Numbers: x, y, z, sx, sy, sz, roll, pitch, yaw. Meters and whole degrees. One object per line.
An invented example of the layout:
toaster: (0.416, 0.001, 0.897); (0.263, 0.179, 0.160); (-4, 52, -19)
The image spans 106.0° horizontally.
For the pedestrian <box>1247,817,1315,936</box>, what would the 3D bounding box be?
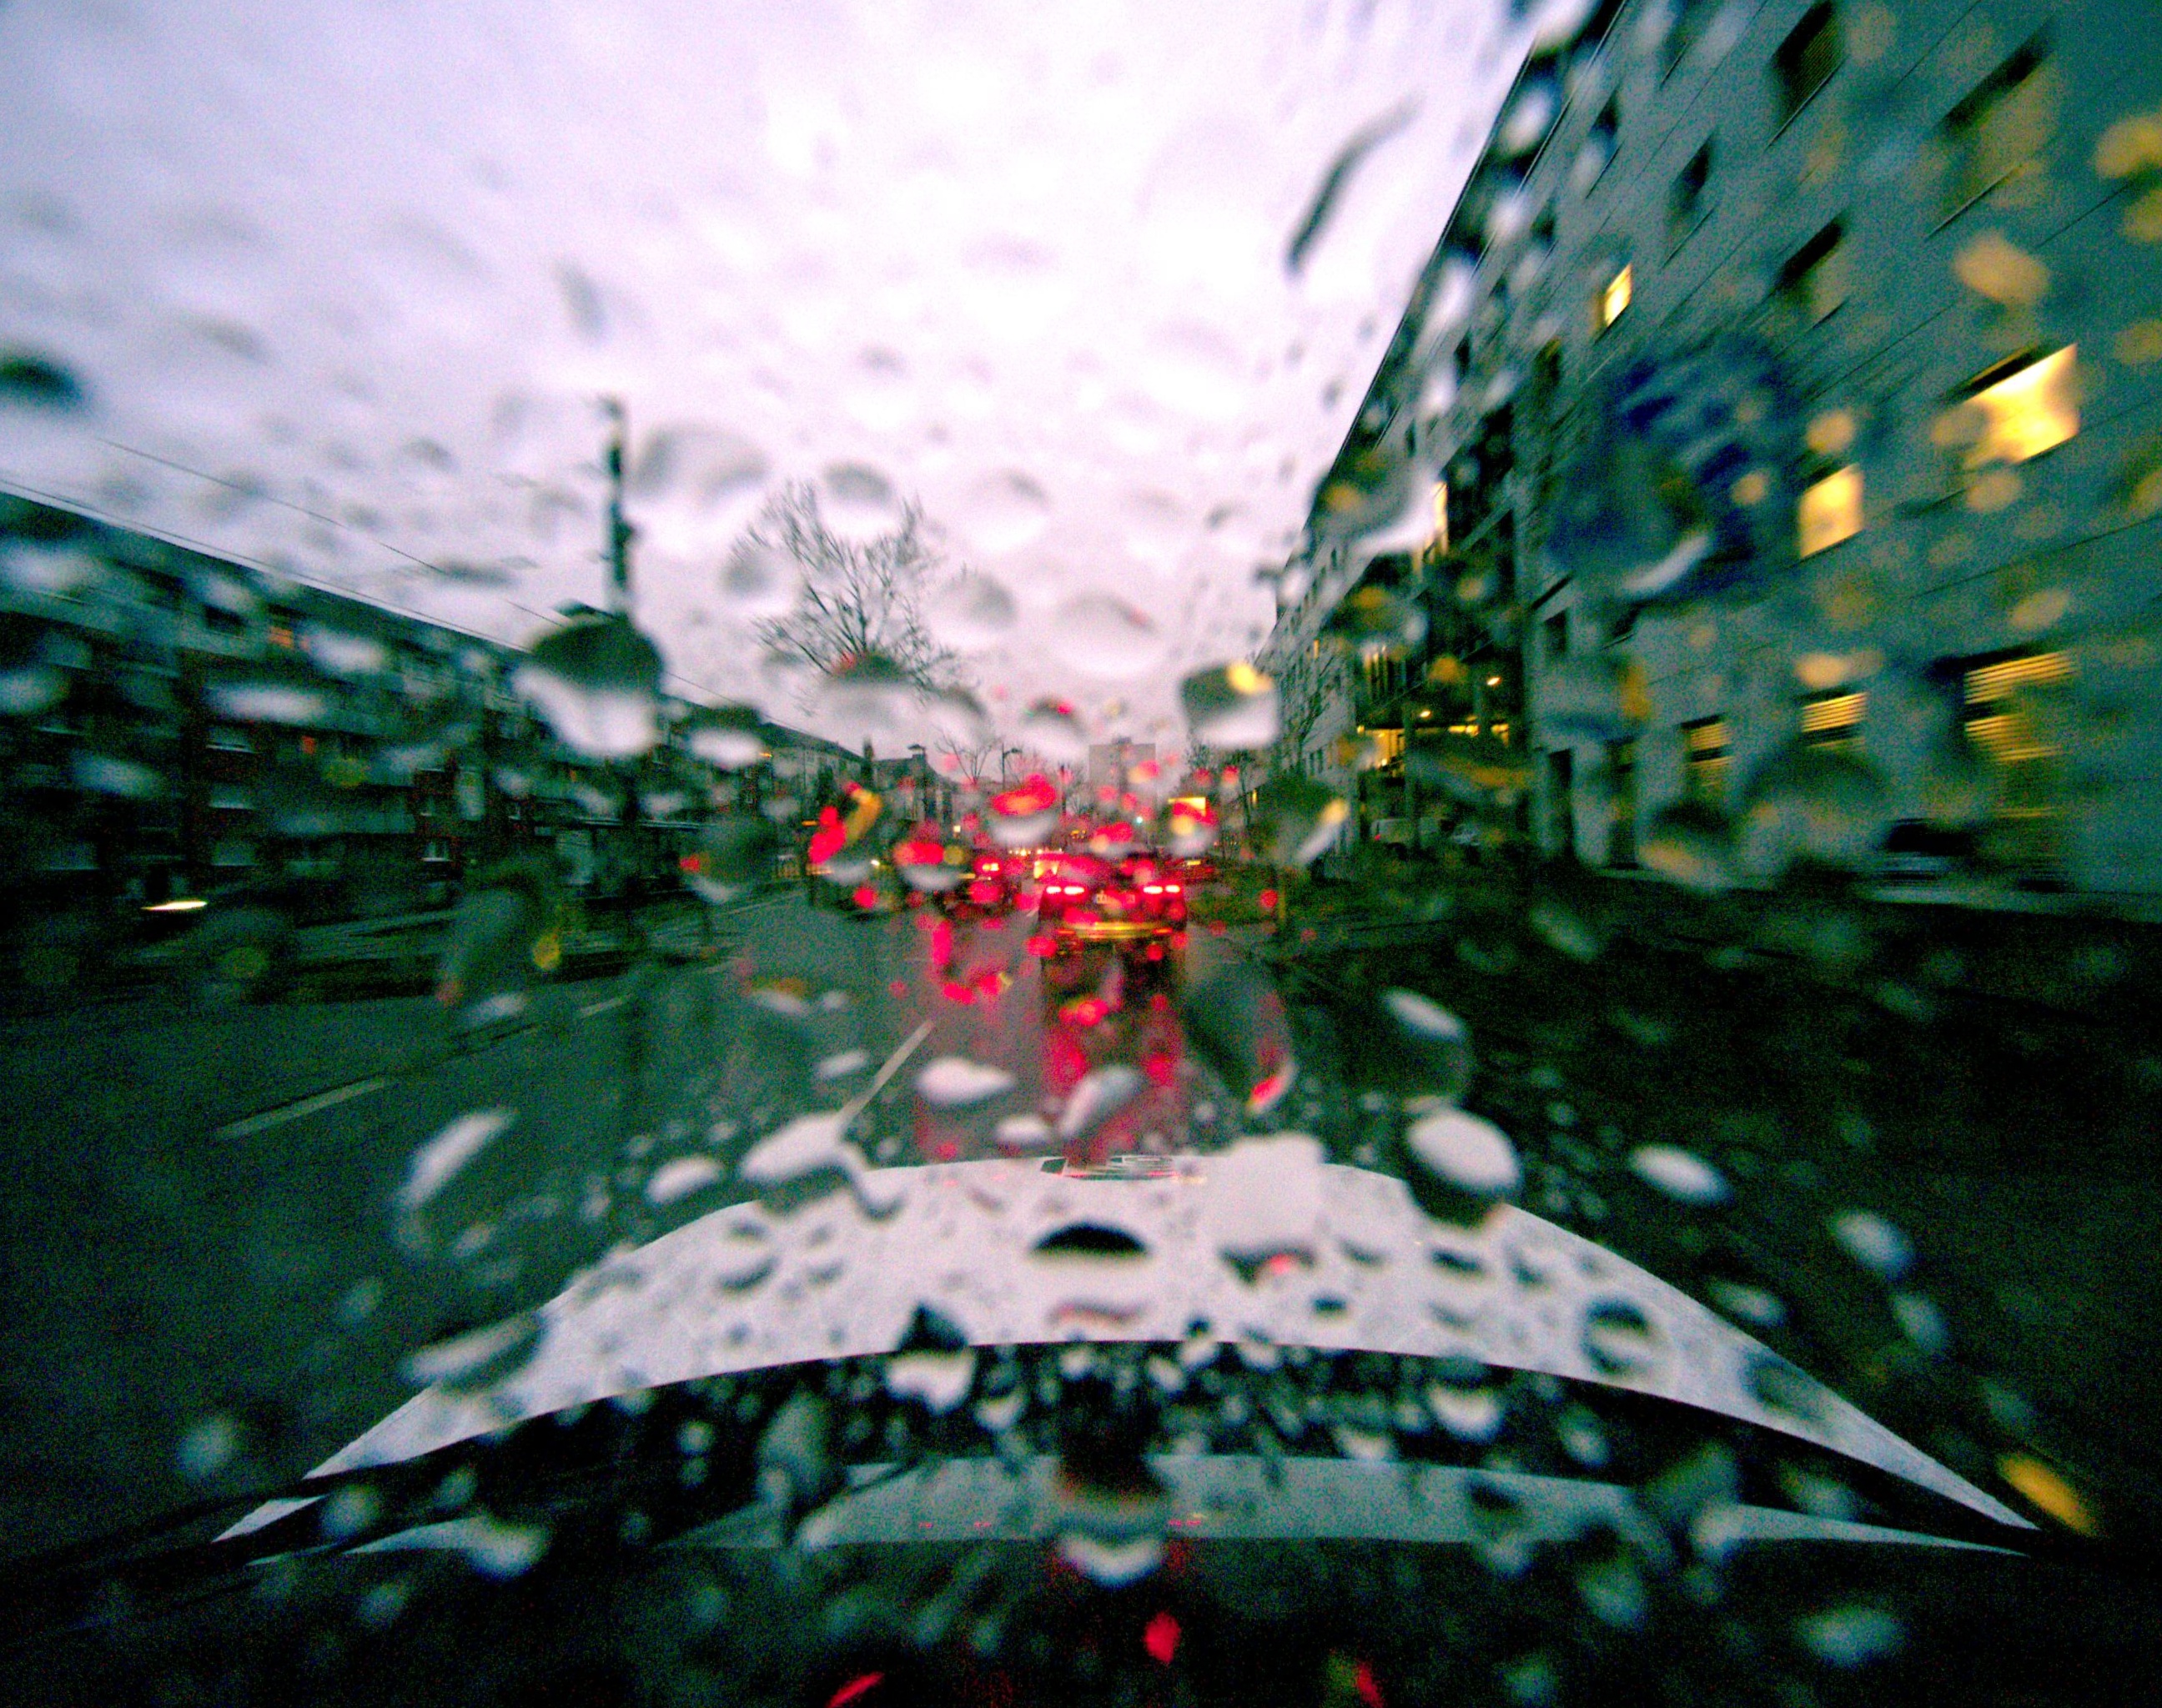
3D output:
pedestrian: (3.223, 0.362, 13.186); (0.768, 1.808, 0.699); (-6, -1, 1)

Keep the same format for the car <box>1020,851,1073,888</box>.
car: (-1.557, 0.693, 38.202); (1.984, 1.642, 4.027); (0, 0, 4)

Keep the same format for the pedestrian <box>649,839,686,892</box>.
pedestrian: (-16.299, 0.446, 32.118); (1.146, 2.014, 0.951); (0, -1, -38)

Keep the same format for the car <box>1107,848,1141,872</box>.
car: (2.611, 0.317, 48.443); (1.878, 1.353, 4.107); (0, 1, 5)

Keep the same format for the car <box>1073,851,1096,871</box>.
car: (0.264, 0.507, 58.845); (1.590, 1.442, 3.207); (0, 0, 2)

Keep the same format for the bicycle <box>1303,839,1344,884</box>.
bicycle: (6.449, 0.195, 21.747); (0.548, 1.115, 2.169); (-3, -1, 4)

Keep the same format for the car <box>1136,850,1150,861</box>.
car: (8.514, 0.186, 111.308); (1.761, 1.502, 3.375); (0, 0, 7)

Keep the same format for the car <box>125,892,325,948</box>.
car: (-25.104, 1.886, 24.110); (1.509, 1.368, 4.004); (0, 0, 4)

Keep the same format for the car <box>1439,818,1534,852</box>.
car: (20.567, -0.941, 41.441); (3.961, 1.518, 1.663); (-3, 1, 11)

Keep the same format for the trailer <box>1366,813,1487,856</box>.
trailer: (16.601, -0.957, 39.403); (5.036, 1.911, 2.136); (-1, 2, 10)

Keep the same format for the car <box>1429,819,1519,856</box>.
car: (15.740, -0.627, 32.901); (1.625, 1.371, 4.533); (0, 0, 2)

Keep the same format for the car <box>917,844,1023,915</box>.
car: (-2.831, 0.631, 21.810); (1.985, 1.712, 4.328); (0, 0, 3)

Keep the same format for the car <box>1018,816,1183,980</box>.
car: (0.309, 0.547, 11.861); (1.986, 1.976, 4.070); (0, -1, 2)

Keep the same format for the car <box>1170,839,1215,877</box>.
car: (4.541, 0.169, 33.710); (1.588, 1.440, 4.233); (0, 0, 4)

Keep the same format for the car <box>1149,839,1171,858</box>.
car: (7.407, -0.481, 75.977); (1.983, 1.691, 3.534); (0, -1, 6)
